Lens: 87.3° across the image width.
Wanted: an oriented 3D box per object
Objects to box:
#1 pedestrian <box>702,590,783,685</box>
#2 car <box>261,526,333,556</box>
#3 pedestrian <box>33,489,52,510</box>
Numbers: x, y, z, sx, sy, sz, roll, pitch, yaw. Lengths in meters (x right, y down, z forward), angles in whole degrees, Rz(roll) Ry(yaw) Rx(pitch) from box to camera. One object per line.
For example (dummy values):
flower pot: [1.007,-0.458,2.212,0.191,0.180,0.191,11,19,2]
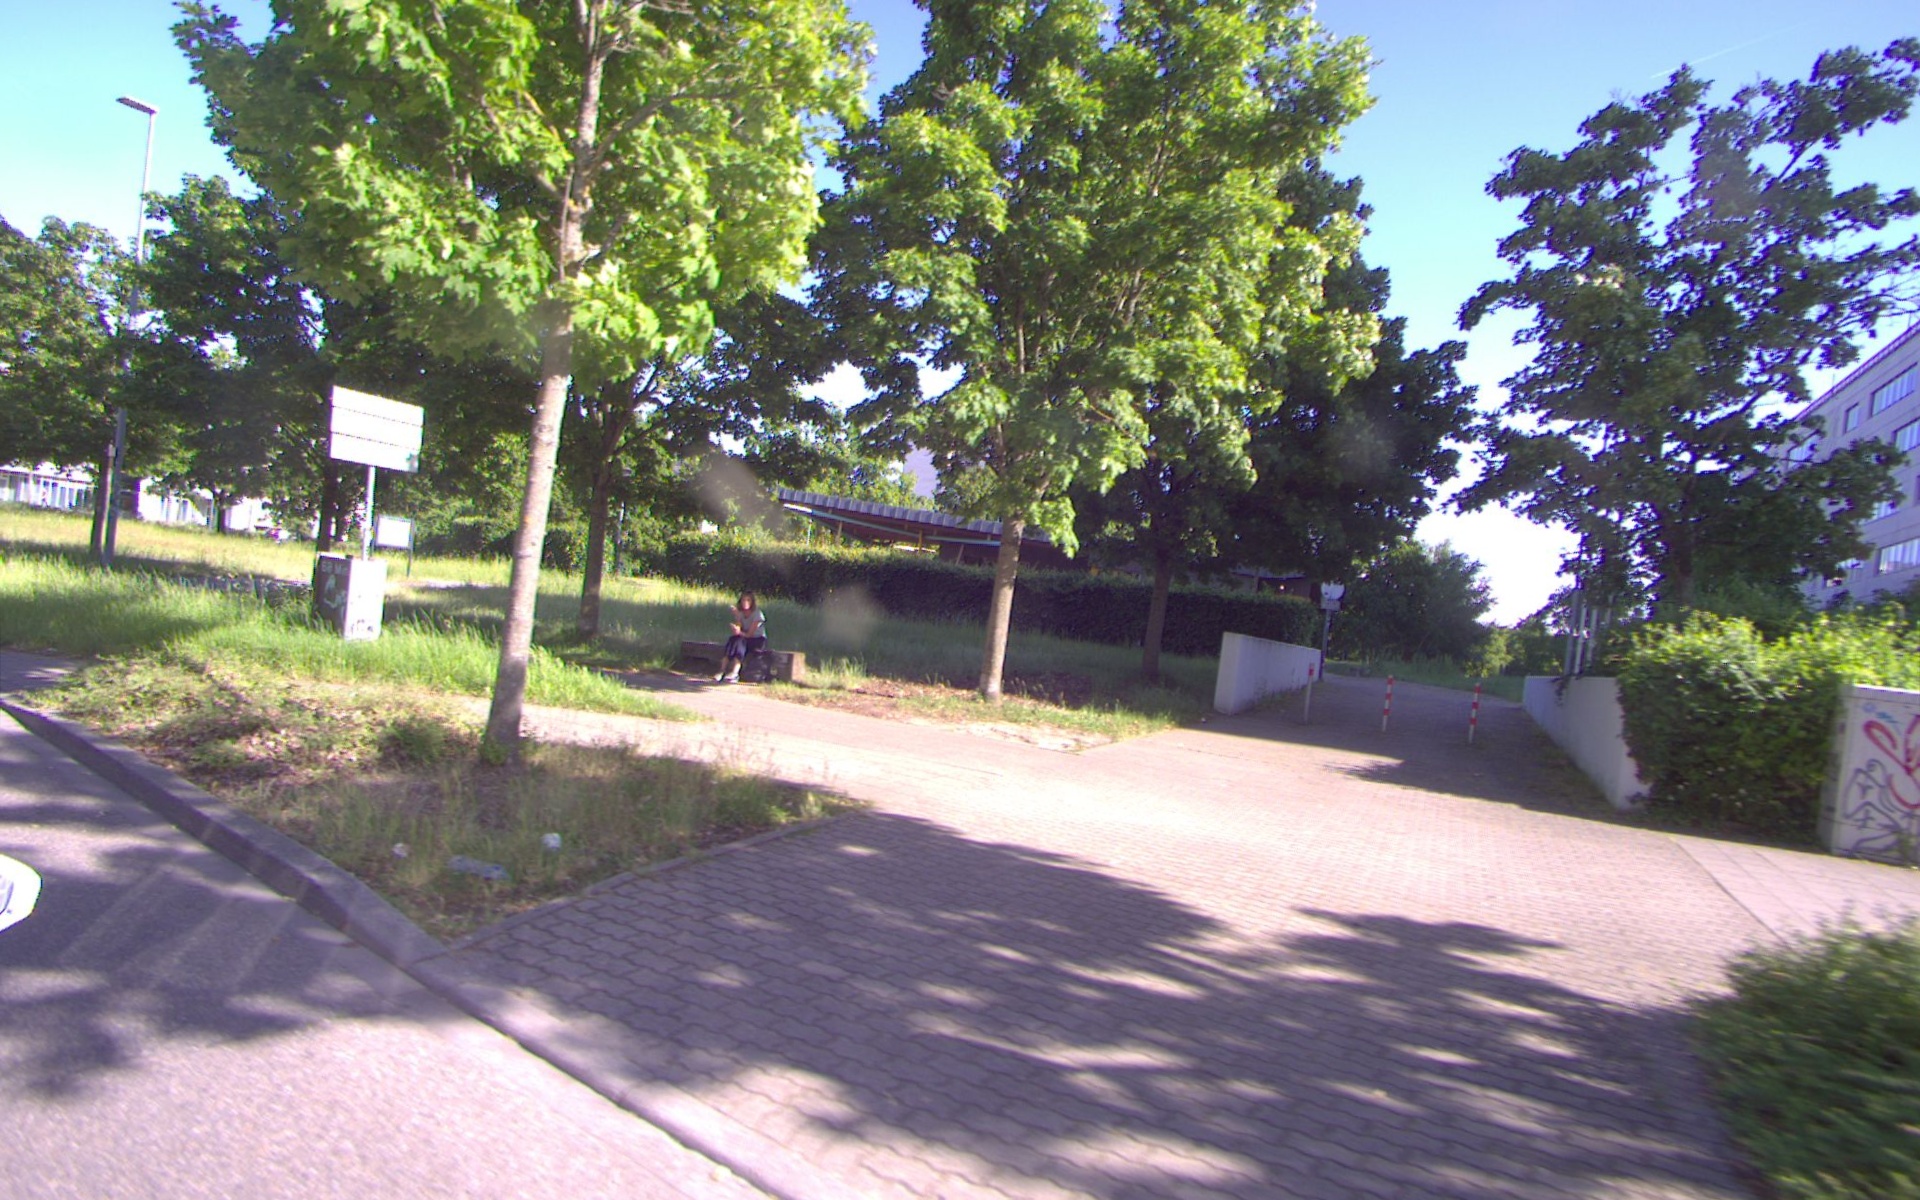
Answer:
pedestrian: [-3.061,0.519,14.209,0.715,1.233,0.847,6,1,15]
car: [-47.927,-4.258,72.820,1.646,1.620,3.960,7,0,25]
pedestrian: [-83.102,-9.078,91.140,0.642,1.745,0.992,7,1,25]
